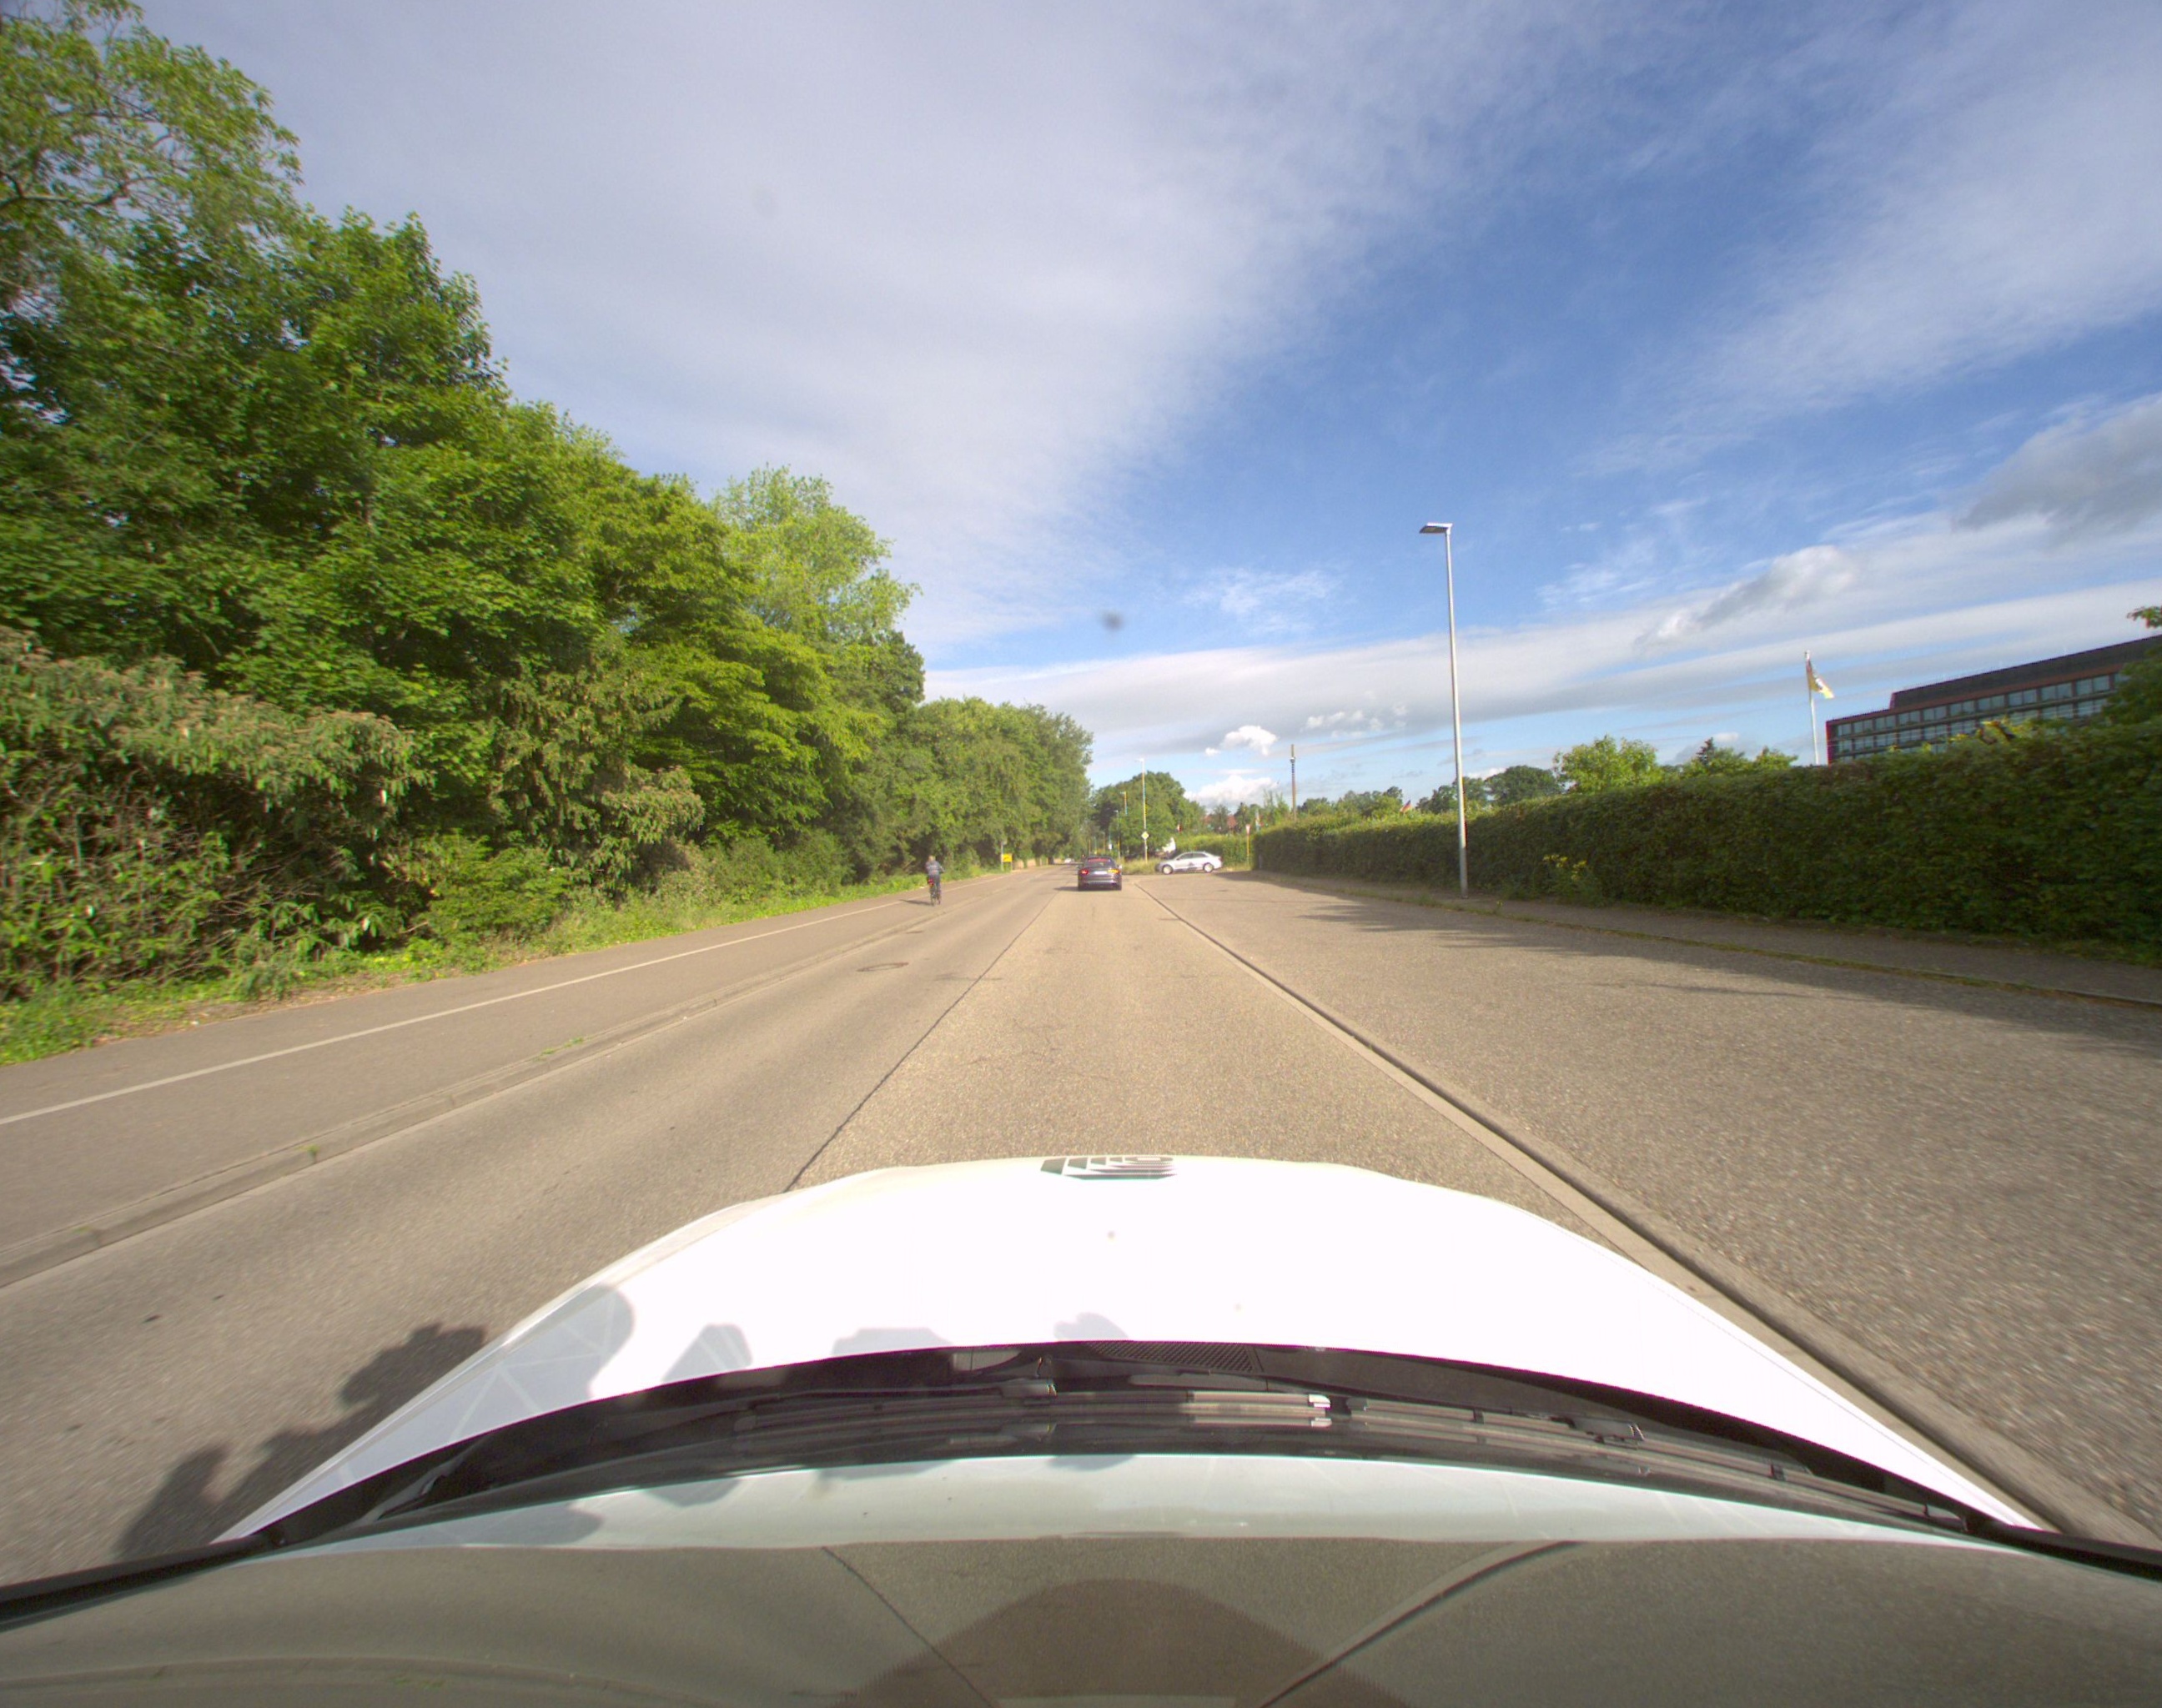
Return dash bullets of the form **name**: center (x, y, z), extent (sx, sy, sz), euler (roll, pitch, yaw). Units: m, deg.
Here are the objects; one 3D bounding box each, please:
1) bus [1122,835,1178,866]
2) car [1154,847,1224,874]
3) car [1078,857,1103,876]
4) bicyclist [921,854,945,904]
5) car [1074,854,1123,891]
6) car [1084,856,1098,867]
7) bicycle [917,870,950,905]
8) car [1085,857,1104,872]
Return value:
- **bus**: center (6.949, -0.365, 82.777), extent (5.352, 2.746, 2.067), euler (-4, 0, -3)
- **car**: center (7.003, 0.418, 52.766), extent (4.339, 1.443, 1.936), euler (-4, -1, 7)
- **car**: center (0.713, 0.970, 63.715), extent (1.880, 1.372, 4.054), euler (-2, 0, 0)
- **bicyclist**: center (-5.041, 0.843, 27.785), extent (0.606, 1.676, 0.884), euler (-1, 0, 1)
- **car**: center (0.784, 0.727, 35.096), extent (1.959, 1.434, 4.338), euler (-1, 0, 2)
- **car**: center (1.342, 0.944, 110.377), extent (1.880, 1.372, 4.054), euler (-2, 0, 0)
- **bicycle**: center (-5.018, 1.131, 27.842), extent (0.660, 1.097, 2.349), euler (-1, 0, 2)
- **car**: center (1.403, 1.051, 84.461), extent (1.880, 1.465, 4.054), euler (-2, 0, 0)
